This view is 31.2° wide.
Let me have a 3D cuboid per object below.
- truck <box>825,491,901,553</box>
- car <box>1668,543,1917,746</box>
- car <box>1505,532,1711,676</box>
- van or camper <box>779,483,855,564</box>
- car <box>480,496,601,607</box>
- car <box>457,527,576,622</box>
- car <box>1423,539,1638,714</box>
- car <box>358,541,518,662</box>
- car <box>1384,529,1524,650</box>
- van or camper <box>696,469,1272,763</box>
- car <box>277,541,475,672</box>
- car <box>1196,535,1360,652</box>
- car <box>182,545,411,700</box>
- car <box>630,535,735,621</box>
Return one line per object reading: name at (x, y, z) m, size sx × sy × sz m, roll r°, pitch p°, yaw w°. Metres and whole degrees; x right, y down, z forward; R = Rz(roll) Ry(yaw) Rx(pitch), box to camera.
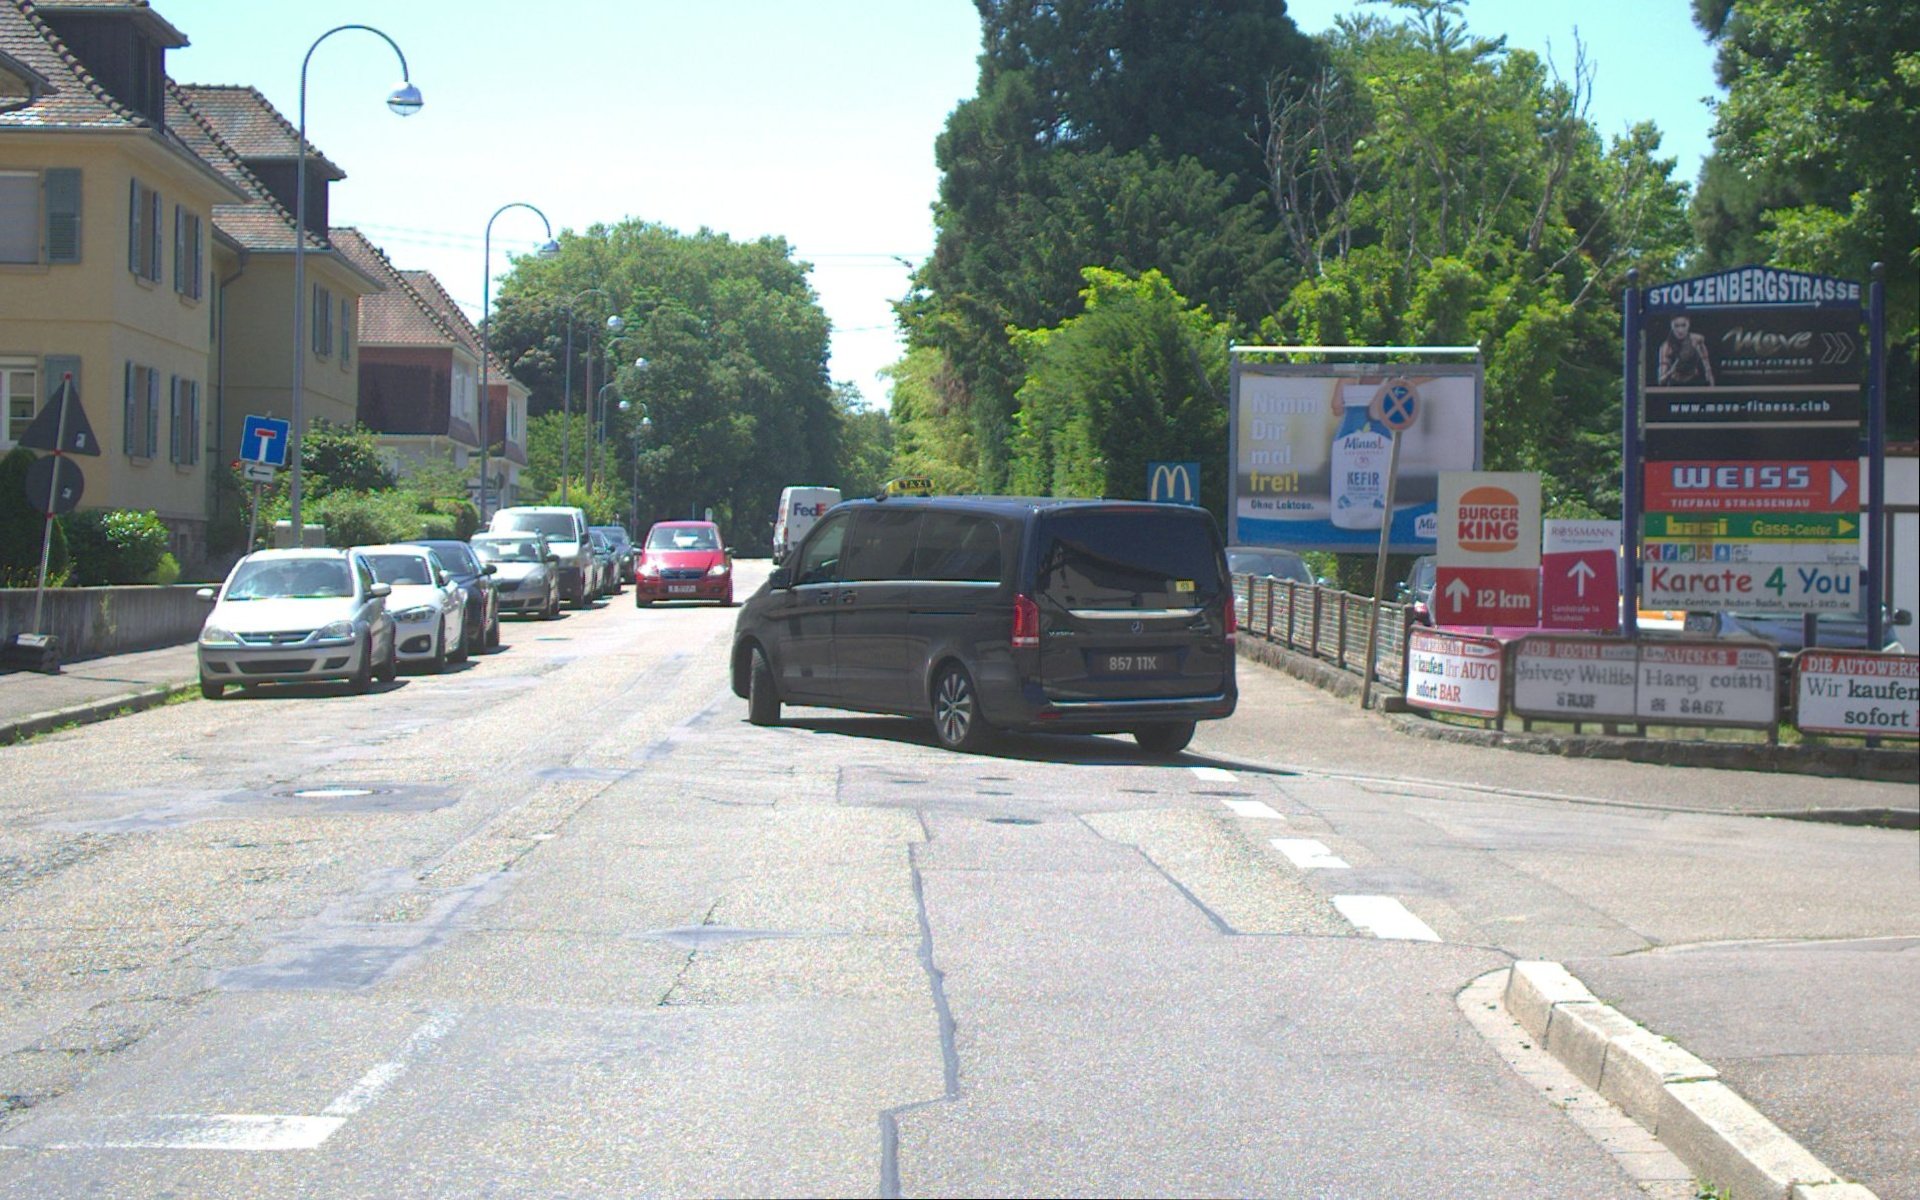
truck at (-3.647, -2.899, 128.242) m, size 2.355 × 2.250 × 6.093 m, roll 0°, pitch 1°, yaw -6°
car at (7.588, 0.342, 31.686) m, size 1.712 × 1.659 × 4.458 m, roll 3°, pitch 1°, yaw 8°
car at (9.004, 0.012, 48.080) m, size 1.774 × 1.793 × 4.166 m, roll 4°, pitch 1°, yaw -3°
van or camper at (-4.595, -2.441, 109.851) m, size 2.262 × 2.519 × 4.760 m, roll -1°, pitch 1°, yaw -4°
car at (-7.858, -0.941, 64.742) m, size 1.878 × 1.956 × 4.626 m, roll -2°, pitch 2°, yaw -3°
car at (-7.522, -0.464, 58.583) m, size 1.686 × 1.520 × 4.063 m, roll 1°, pitch 1°, yaw -3°
car at (5.252, 0.195, 32.012) m, size 1.712 × 1.518 × 3.839 m, roll 1°, pitch 1°, yaw 6°
car at (-6.781, -0.015, 44.962) m, size 1.715 × 1.480 × 4.077 m, roll -1°, pitch 1°, yaw -4°
car at (6.963, -0.158, 48.736) m, size 1.632 × 1.538 × 3.392 m, roll 4°, pitch 1°, yaw 4°
van or camper at (0.034, 0.037, 26.208) m, size 1.902 × 2.007 × 5.270 m, roll 1°, pitch 1°, yaw -30°
car at (-6.680, 0.031, 39.721) m, size 1.794 × 1.397 × 4.220 m, roll -1°, pitch 1°, yaw -4°
car at (4.435, -0.125, 48.373) m, size 1.631 × 1.454 × 3.557 m, roll 4°, pitch 1°, yaw -4°
car at (-6.659, 0.182, 34.831) m, size 1.759 × 1.442 × 3.925 m, roll -1°, pitch 1°, yaw -3°
car at (-5.242, -0.437, 65.309) m, size 1.814 × 1.560 × 3.697 m, roll -1°, pitch 1°, yaw -2°
